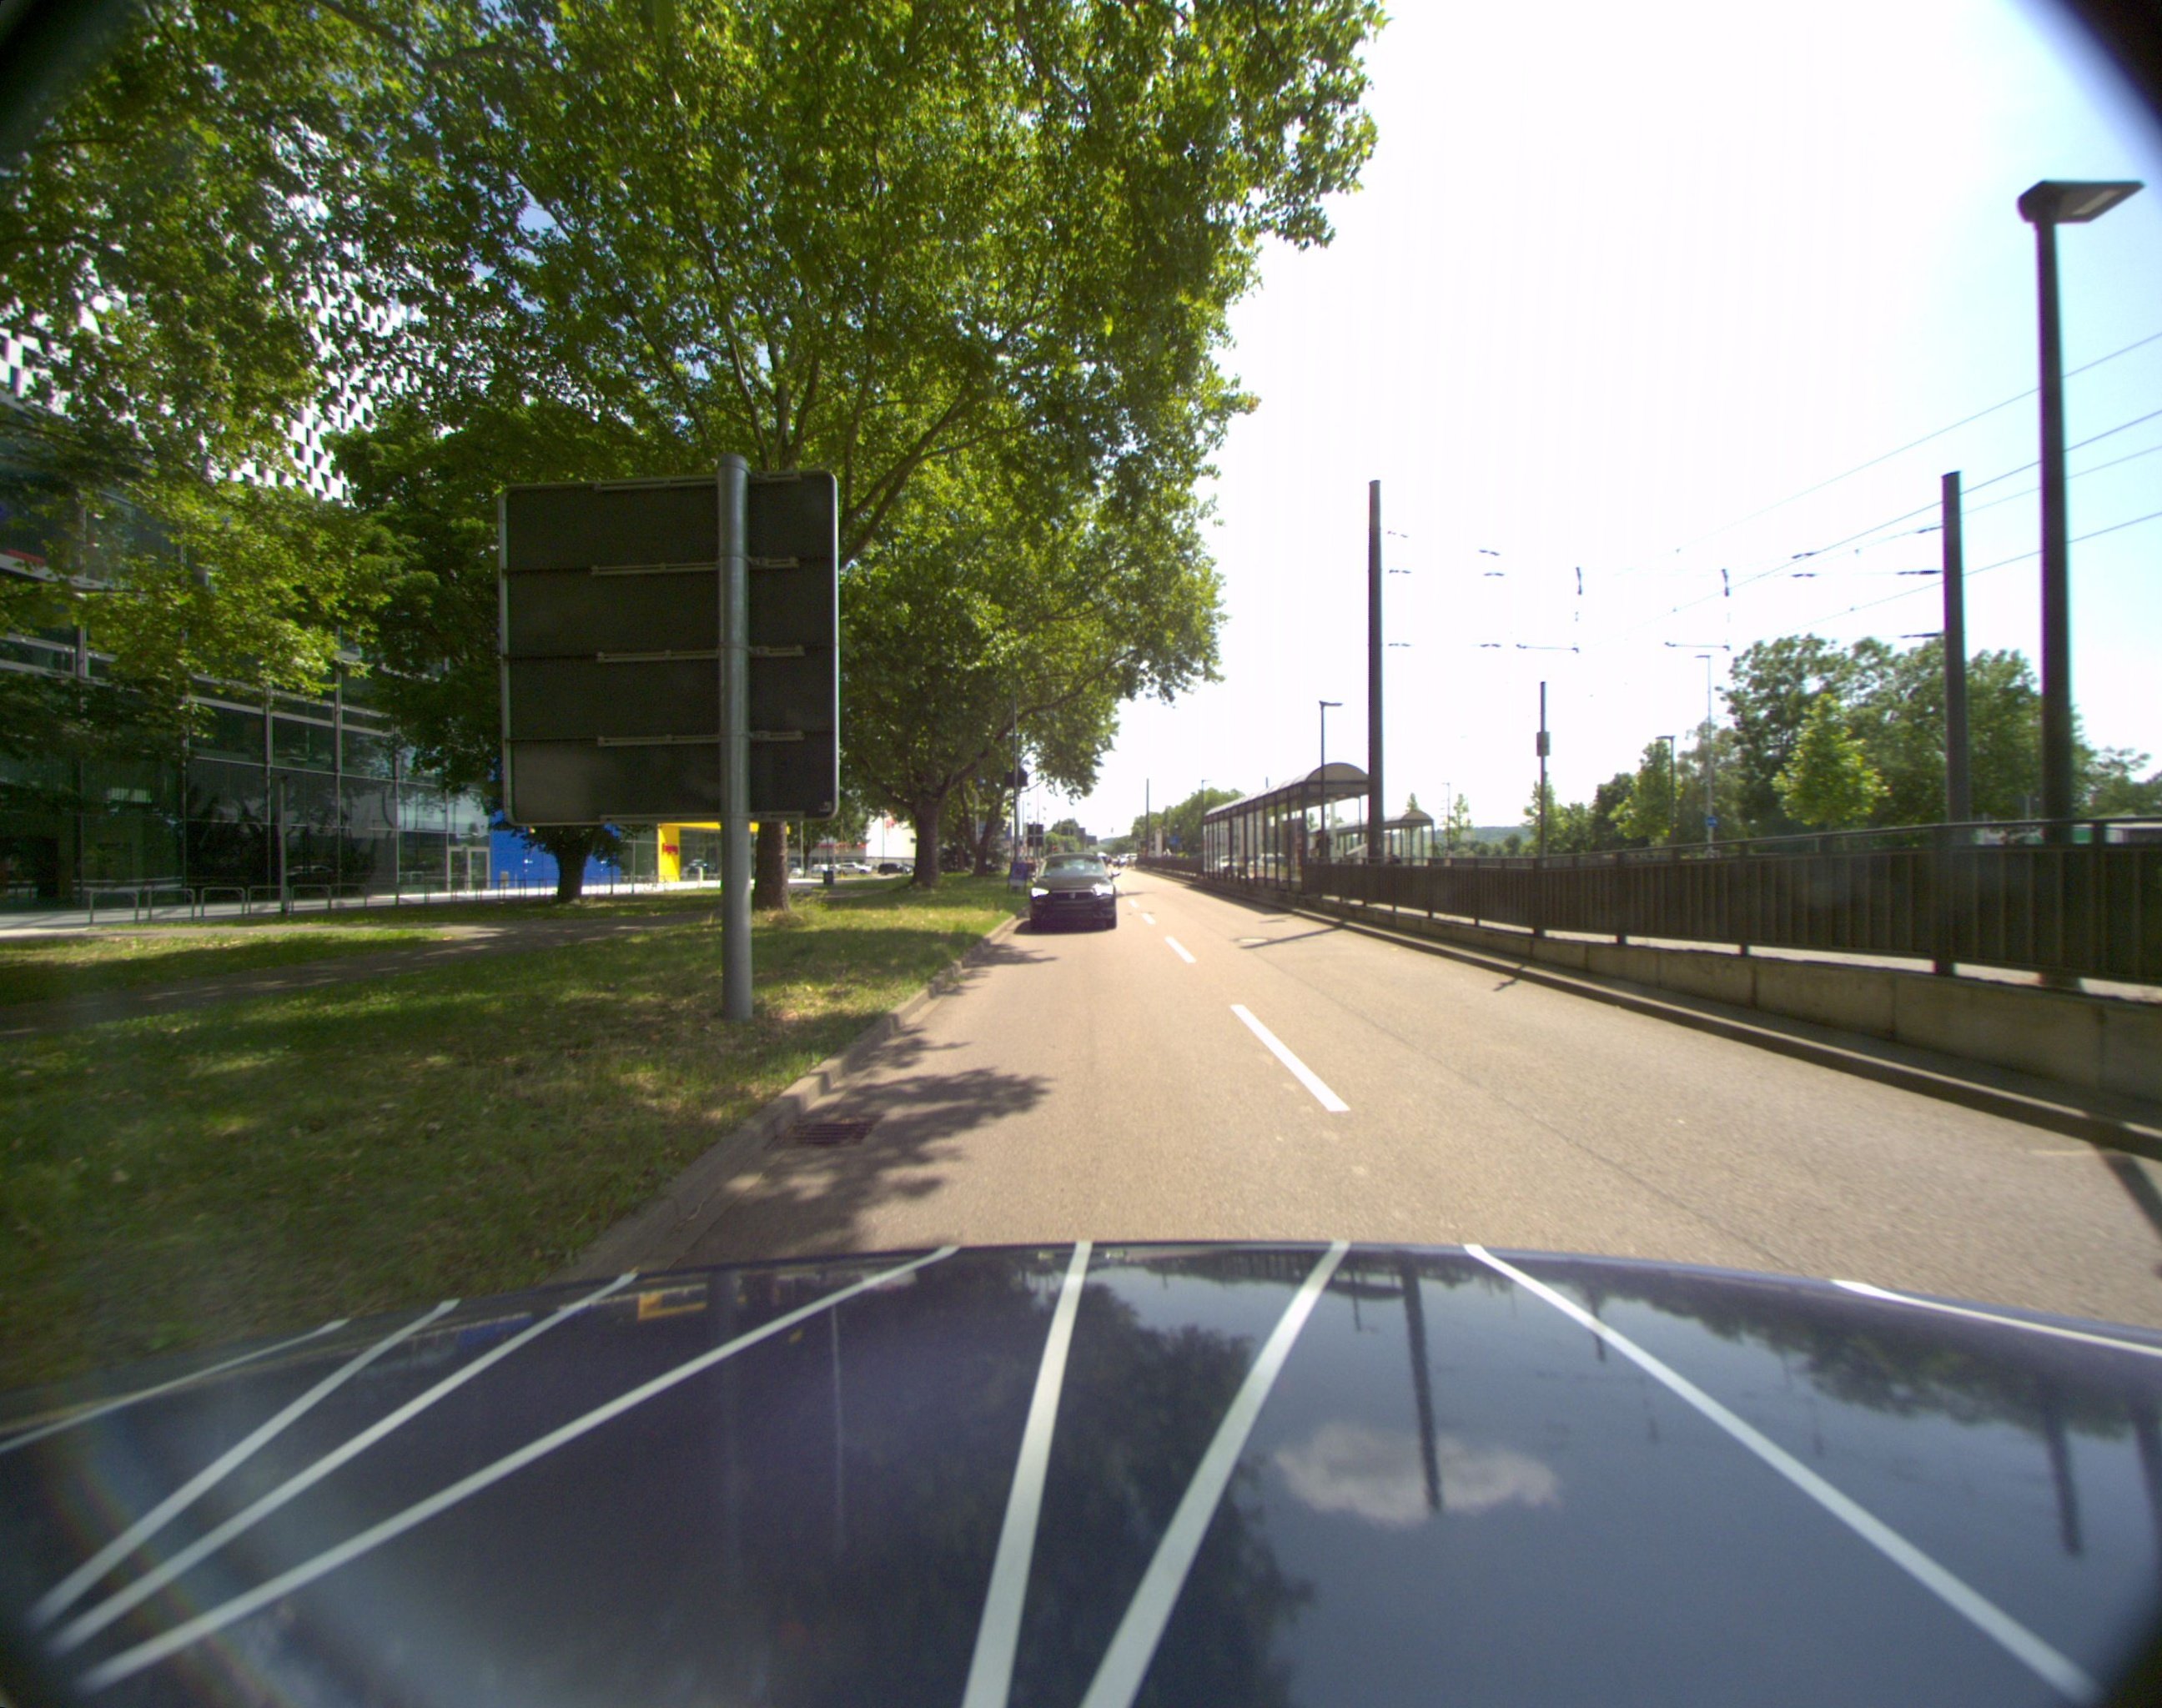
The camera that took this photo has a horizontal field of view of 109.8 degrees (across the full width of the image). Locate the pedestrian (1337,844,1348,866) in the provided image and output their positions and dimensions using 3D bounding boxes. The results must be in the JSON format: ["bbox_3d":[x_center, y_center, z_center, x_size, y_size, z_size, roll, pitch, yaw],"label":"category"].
[{"bbox_3d":[18.133,0.092,52.659,0.578,1.524,0.639,-1,0,1],"label":"pedestrian"}]

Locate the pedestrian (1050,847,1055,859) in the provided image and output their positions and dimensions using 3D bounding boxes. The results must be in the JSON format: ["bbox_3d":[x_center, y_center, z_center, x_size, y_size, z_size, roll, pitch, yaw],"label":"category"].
[{"bbox_3d":[-3.987,-0.206,106.202,0.528,1.656,0.640,-2,1,5],"label":"pedestrian"}]

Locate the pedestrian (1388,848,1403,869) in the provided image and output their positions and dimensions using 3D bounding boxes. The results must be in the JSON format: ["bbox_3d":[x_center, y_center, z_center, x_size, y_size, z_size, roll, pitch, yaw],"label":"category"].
[{"bbox_3d":[17.830,0.233,43.075,0.578,1.183,0.639,-1,0,1],"label":"pedestrian"}]

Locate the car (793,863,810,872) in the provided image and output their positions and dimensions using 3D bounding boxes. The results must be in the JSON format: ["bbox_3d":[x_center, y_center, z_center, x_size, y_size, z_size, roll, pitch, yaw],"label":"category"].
[{"bbox_3d":[-52.950,2.612,144.133,1.853,1.537,3.999,-2,0,-2],"label":"car"}]

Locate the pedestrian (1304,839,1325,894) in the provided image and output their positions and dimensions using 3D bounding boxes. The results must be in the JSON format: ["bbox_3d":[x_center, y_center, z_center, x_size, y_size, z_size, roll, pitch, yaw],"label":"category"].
[{"bbox_3d":[6.416,0.337,20.877,0.396,1.499,0.417,-2,2,-40],"label":"pedestrian"}]

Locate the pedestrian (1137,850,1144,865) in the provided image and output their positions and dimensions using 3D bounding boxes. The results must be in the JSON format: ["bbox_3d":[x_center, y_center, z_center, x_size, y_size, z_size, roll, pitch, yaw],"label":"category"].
[{"bbox_3d":[6.910,0.416,88.859,0.734,1.663,0.678,-1,1,-2],"label":"pedestrian"}]

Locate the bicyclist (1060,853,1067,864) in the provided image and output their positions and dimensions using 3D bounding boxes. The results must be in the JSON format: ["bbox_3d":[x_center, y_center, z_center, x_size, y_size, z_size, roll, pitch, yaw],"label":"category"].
[{"bbox_3d":[-2.749,0.716,120.152,0.818,1.691,0.797,-2,0,-43],"label":"bicyclist"}]

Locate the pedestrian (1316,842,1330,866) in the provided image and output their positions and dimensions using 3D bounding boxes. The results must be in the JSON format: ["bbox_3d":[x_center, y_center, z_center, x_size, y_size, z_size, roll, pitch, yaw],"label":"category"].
[{"bbox_3d":[17.473,-0.013,54.852,0.736,1.719,0.579,-1,1,38],"label":"pedestrian"}]

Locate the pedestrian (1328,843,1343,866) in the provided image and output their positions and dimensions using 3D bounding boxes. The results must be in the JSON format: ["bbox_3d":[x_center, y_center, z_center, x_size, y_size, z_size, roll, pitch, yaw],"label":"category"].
[{"bbox_3d":[17.869,0.033,53.435,0.826,1.629,0.579,-1,1,38],"label":"pedestrian"}]

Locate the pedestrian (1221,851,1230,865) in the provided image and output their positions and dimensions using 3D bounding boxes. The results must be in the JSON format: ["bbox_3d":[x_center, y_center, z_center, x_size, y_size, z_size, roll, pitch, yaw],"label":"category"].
[{"bbox_3d":[17.772,0.477,93.396,0.959,1.600,0.764,-1,0,-1],"label":"pedestrian"}]

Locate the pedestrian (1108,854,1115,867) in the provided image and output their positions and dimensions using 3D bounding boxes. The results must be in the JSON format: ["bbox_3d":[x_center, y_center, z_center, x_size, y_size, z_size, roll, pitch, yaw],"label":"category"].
[{"bbox_3d":[3.693,0.758,91.431,0.787,1.563,0.764,-2,1,-2],"label":"pedestrian"}]

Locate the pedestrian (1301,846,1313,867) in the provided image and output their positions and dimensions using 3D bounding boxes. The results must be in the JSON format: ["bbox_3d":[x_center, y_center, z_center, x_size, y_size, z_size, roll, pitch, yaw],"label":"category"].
[{"bbox_3d":[17.899,0.196,60.150,0.558,1.628,0.806,-1,0,-6],"label":"pedestrian"}]

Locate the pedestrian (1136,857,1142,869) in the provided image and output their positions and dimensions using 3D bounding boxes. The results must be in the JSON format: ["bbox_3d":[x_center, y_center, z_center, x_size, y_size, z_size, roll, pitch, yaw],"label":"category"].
[{"bbox_3d":[6.376,0.974,83.687,0.615,1.337,0.720,-2,1,-1],"label":"pedestrian"}]

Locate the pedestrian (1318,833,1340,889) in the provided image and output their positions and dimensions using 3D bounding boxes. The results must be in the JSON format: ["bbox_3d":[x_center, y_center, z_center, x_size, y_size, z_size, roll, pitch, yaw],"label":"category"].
[{"bbox_3d":[6.697,0.177,20.525,0.396,1.499,0.417,-2,2,-40],"label":"pedestrian"}]

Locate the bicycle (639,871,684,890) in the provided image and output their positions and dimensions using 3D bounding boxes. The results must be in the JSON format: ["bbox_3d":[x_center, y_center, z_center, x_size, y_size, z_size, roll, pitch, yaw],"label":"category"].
[{"bbox_3d":[-23.777,1.491,43.081,2.065,0.963,0.868,-1,0,-3],"label":"bicycle"}]

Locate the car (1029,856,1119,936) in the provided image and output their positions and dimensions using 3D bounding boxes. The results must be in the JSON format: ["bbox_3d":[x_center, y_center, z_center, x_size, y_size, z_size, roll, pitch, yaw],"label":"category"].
[{"bbox_3d":[-0.116,0.896,18.095,1.819,1.583,4.000,-3,0,1],"label":"car"}]

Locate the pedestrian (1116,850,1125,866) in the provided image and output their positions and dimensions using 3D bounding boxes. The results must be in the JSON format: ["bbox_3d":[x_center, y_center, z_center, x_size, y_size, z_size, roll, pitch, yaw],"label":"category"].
[{"bbox_3d":[4.513,0.472,86.580,0.865,1.791,0.883,-2,1,-3],"label":"pedestrian"}]

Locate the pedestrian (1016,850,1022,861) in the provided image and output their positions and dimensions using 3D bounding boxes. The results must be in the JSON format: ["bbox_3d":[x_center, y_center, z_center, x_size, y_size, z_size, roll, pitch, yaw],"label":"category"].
[{"bbox_3d":[-10.361,0.268,126.433,0.805,1.854,0.798,-2,1,5],"label":"pedestrian"}]

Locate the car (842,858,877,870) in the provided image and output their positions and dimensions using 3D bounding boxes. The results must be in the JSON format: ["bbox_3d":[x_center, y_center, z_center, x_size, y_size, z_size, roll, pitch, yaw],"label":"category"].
[{"bbox_3d":[-30.072,1.345,103.166,4.079,1.630,2.000,-1,1,-1],"label":"car"}]

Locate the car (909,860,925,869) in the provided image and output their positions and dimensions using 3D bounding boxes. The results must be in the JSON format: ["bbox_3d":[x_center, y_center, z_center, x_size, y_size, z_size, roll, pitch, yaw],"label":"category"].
[{"bbox_3d":[-34.395,2.194,159.280,1.998,1.707,4.503,-2,1,3],"label":"car"}]

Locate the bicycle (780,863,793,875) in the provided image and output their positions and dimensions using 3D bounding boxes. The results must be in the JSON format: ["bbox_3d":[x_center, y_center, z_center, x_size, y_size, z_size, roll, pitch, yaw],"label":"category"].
[{"bbox_3d":[-31.065,1.584,80.162,0.803,1.138,2.430,-1,0,-12],"label":"bicycle"}]

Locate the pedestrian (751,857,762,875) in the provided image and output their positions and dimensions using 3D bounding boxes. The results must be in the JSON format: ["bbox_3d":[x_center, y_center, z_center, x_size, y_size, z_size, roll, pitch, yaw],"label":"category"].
[{"bbox_3d":[-30.156,1.117,70.552,0.606,1.662,0.587,-2,1,17],"label":"pedestrian"}]

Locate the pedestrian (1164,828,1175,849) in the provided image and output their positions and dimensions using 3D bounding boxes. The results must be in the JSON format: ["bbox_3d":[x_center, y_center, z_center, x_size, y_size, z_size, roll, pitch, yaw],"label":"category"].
[{"bbox_3d":[7.080,-1.227,60.711,0.734,1.656,0.742,-1,0,0],"label":"pedestrian"}]

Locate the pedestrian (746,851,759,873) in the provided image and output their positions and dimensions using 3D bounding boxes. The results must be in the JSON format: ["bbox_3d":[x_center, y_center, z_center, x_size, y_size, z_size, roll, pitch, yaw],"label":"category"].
[{"bbox_3d":[-30.529,0.745,70.553,0.798,2.002,0.733,-1,0,13],"label":"pedestrian"}]
